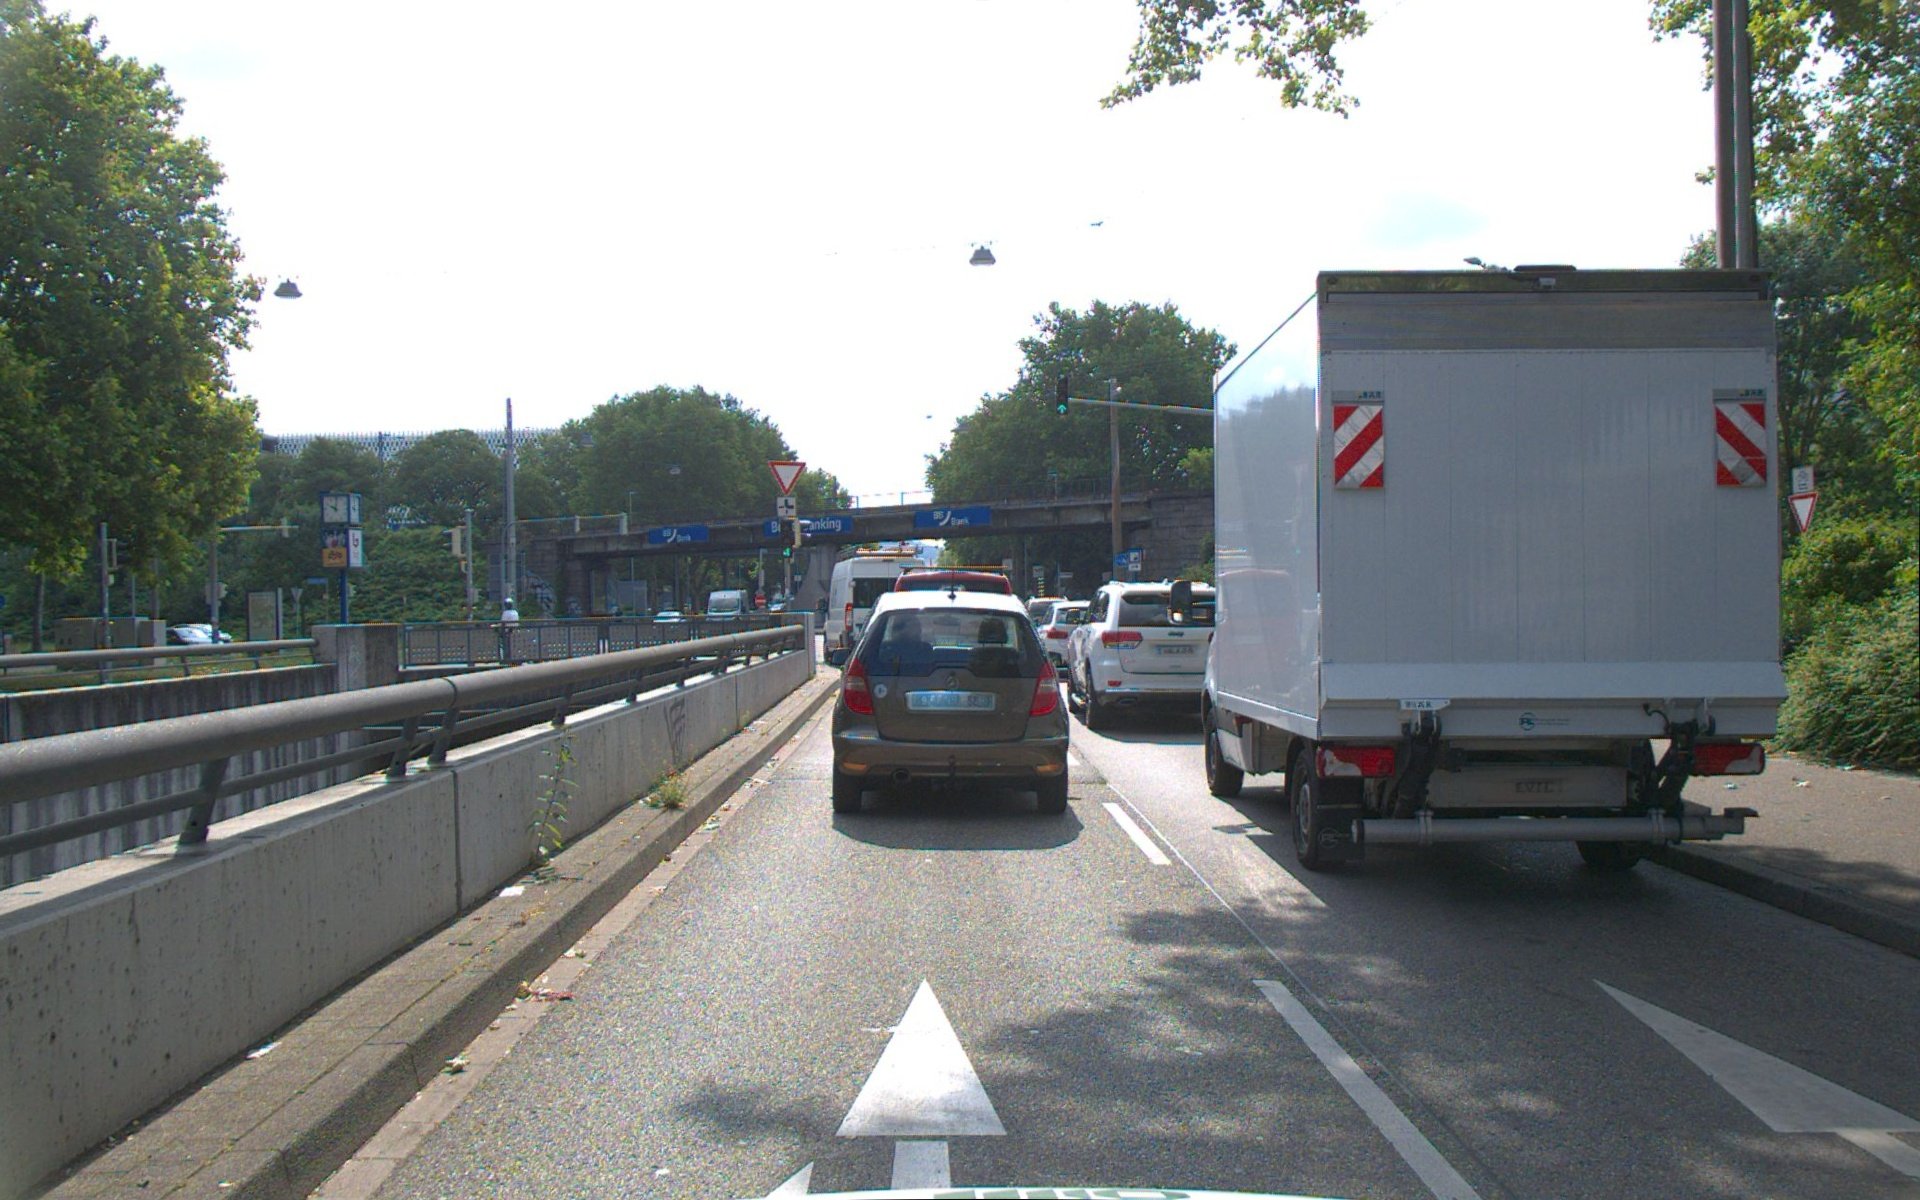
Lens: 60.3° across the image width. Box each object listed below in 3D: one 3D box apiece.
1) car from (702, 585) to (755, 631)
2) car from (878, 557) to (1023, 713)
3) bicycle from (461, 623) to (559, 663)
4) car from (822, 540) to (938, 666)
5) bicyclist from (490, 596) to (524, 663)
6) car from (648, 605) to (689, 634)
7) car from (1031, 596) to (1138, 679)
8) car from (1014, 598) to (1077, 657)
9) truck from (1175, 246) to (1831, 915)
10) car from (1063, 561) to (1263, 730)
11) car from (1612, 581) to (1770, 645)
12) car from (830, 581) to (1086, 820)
[{"bbox_3d":[-13.445,0.453,96.295,2.212,2.570,5.626,-1,0,0],"label":"car"},{"bbox_3d":[-0.164,0.476,24.328,1.916,2.052,4.675,0,0,-1],"label":"car"},{"bbox_3d":[-9.651,0.923,35.529,1.931,0.841,0.612,0,0,2],"label":"bicycle"},{"bbox_3d":[-1.976,0.116,39.263,2.157,2.774,4.920,1,-1,-10],"label":"car"},{"bbox_3d":[-9.727,0.626,35.530,0.499,1.429,0.626,-1,0,3],"label":"bicyclist"},{"bbox_3d":[-16.497,1.080,93.747,1.668,1.502,3.998,-4,0,-2],"label":"car"},{"bbox_3d":[2.428,0.739,33.016,1.814,1.548,3.616,0,-1,-1],"label":"car"},{"bbox_3d":[2.336,0.765,45.906,1.513,1.548,3.616,0,-1,-1],"label":"car"},{"bbox_3d":[2.979,-0.080,10.887,2.396,3.176,6.028,0,0,1],"label":"truck"},{"bbox_3d":[2.482,0.563,21.301,1.954,1.935,4.507,0,-1,-1],"label":"car"},{"bbox_3d":[21.378,0.385,48.397,3.940,1.779,1.971,-1,0,33],"label":"car"},{"bbox_3d":[-0.036,0.690,13.280,1.755,1.637,3.798,0,0,-1],"label":"car"}]
